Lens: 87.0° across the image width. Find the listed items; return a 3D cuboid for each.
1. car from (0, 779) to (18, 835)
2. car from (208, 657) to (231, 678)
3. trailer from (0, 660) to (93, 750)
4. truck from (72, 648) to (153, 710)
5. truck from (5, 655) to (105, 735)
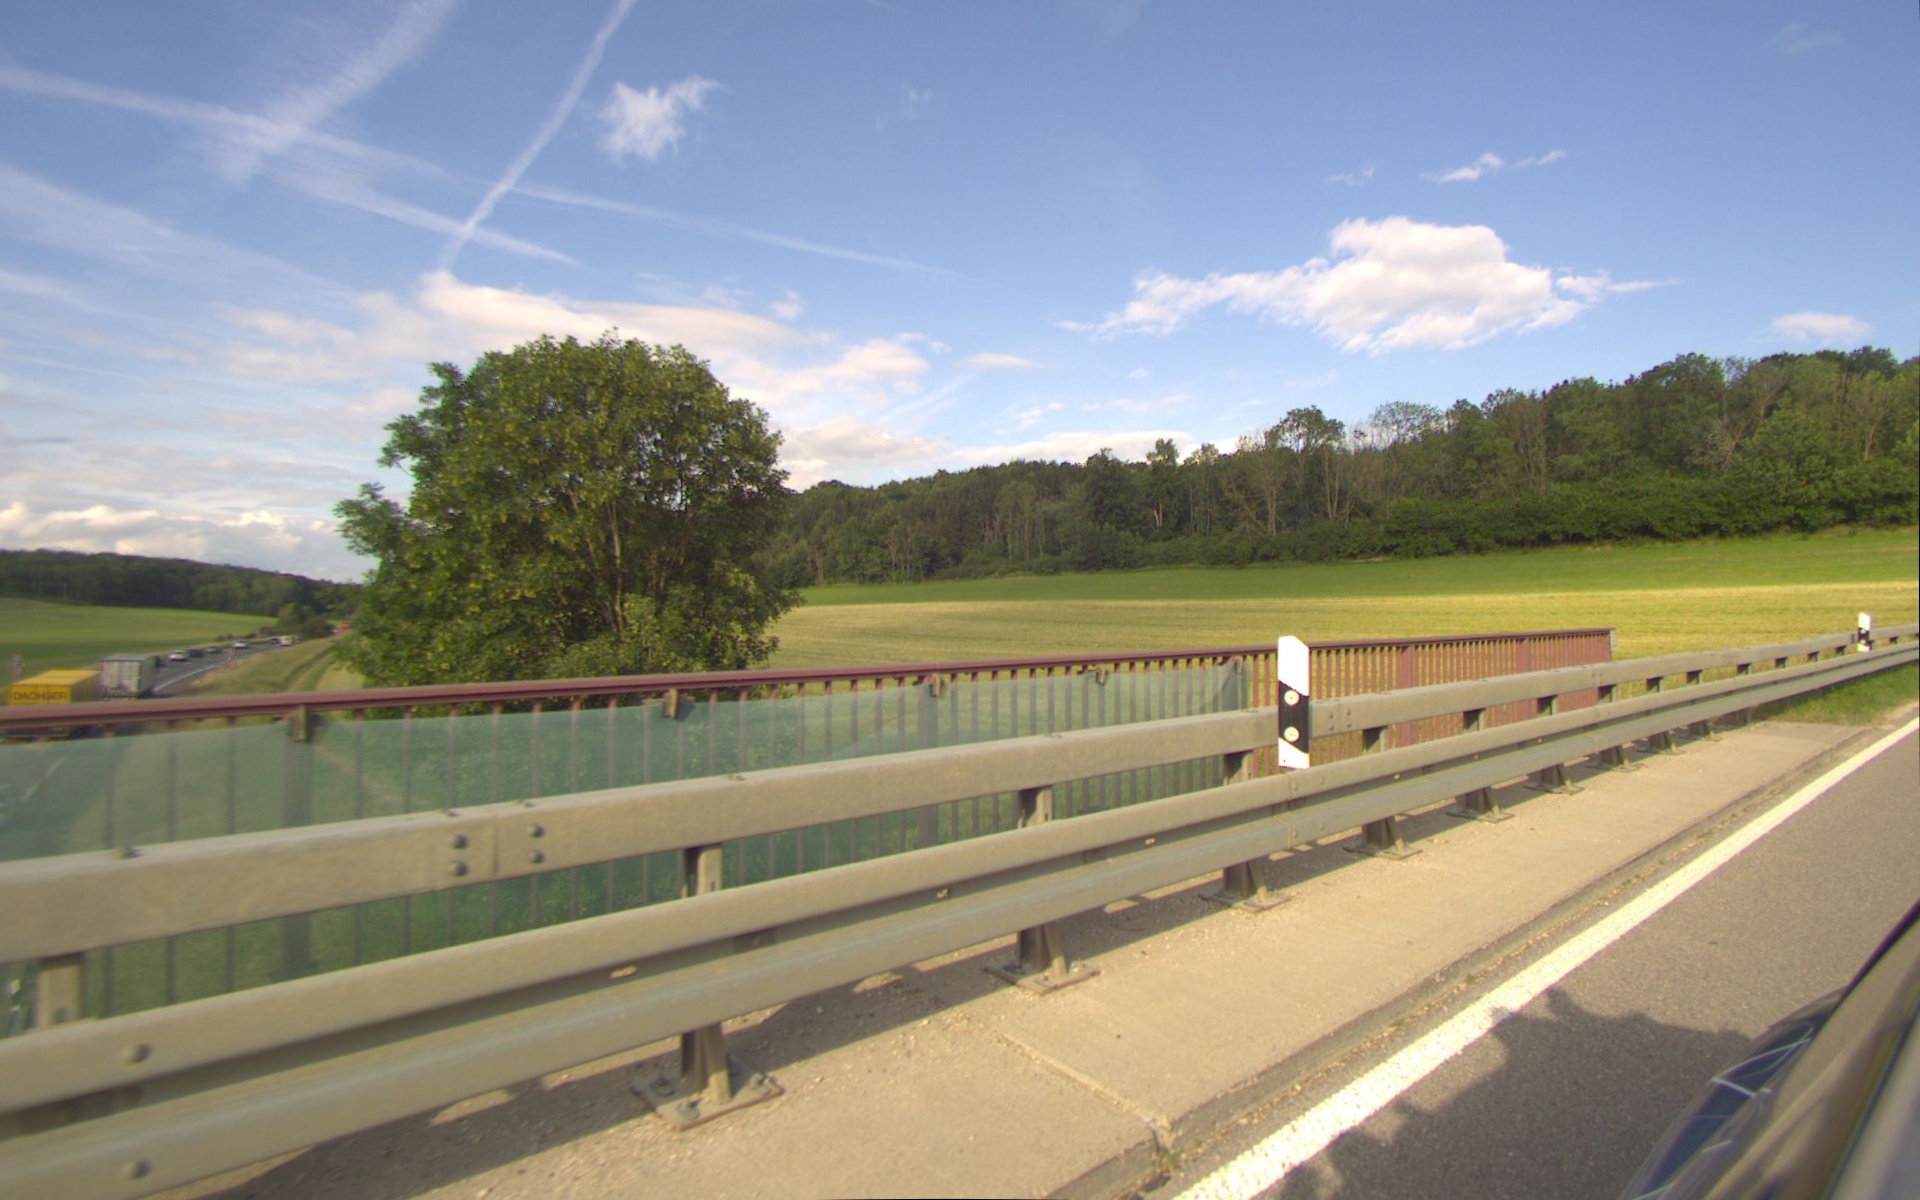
[{"bbox_3d":[-36.402,7.710,37.483,1.770,1.488,3.997,3,-3,-37],"label":"car"},{"bbox_3d":[-87.734,7.955,119.922,1.963,2.038,4.000,-5,3,-34],"label":"car"},{"bbox_3d":[-52.083,5.784,57.295,3.767,4.111,9.124,-3,1,-36],"label":"trailer"},{"bbox_3d":[-73.244,6.638,87.787,4.005,4.045,14.421,-5,3,-35],"label":"truck"},{"bbox_3d":[-57.623,5.876,64.701,3.768,4.111,9.795,-3,1,-37],"label":"truck"}]
